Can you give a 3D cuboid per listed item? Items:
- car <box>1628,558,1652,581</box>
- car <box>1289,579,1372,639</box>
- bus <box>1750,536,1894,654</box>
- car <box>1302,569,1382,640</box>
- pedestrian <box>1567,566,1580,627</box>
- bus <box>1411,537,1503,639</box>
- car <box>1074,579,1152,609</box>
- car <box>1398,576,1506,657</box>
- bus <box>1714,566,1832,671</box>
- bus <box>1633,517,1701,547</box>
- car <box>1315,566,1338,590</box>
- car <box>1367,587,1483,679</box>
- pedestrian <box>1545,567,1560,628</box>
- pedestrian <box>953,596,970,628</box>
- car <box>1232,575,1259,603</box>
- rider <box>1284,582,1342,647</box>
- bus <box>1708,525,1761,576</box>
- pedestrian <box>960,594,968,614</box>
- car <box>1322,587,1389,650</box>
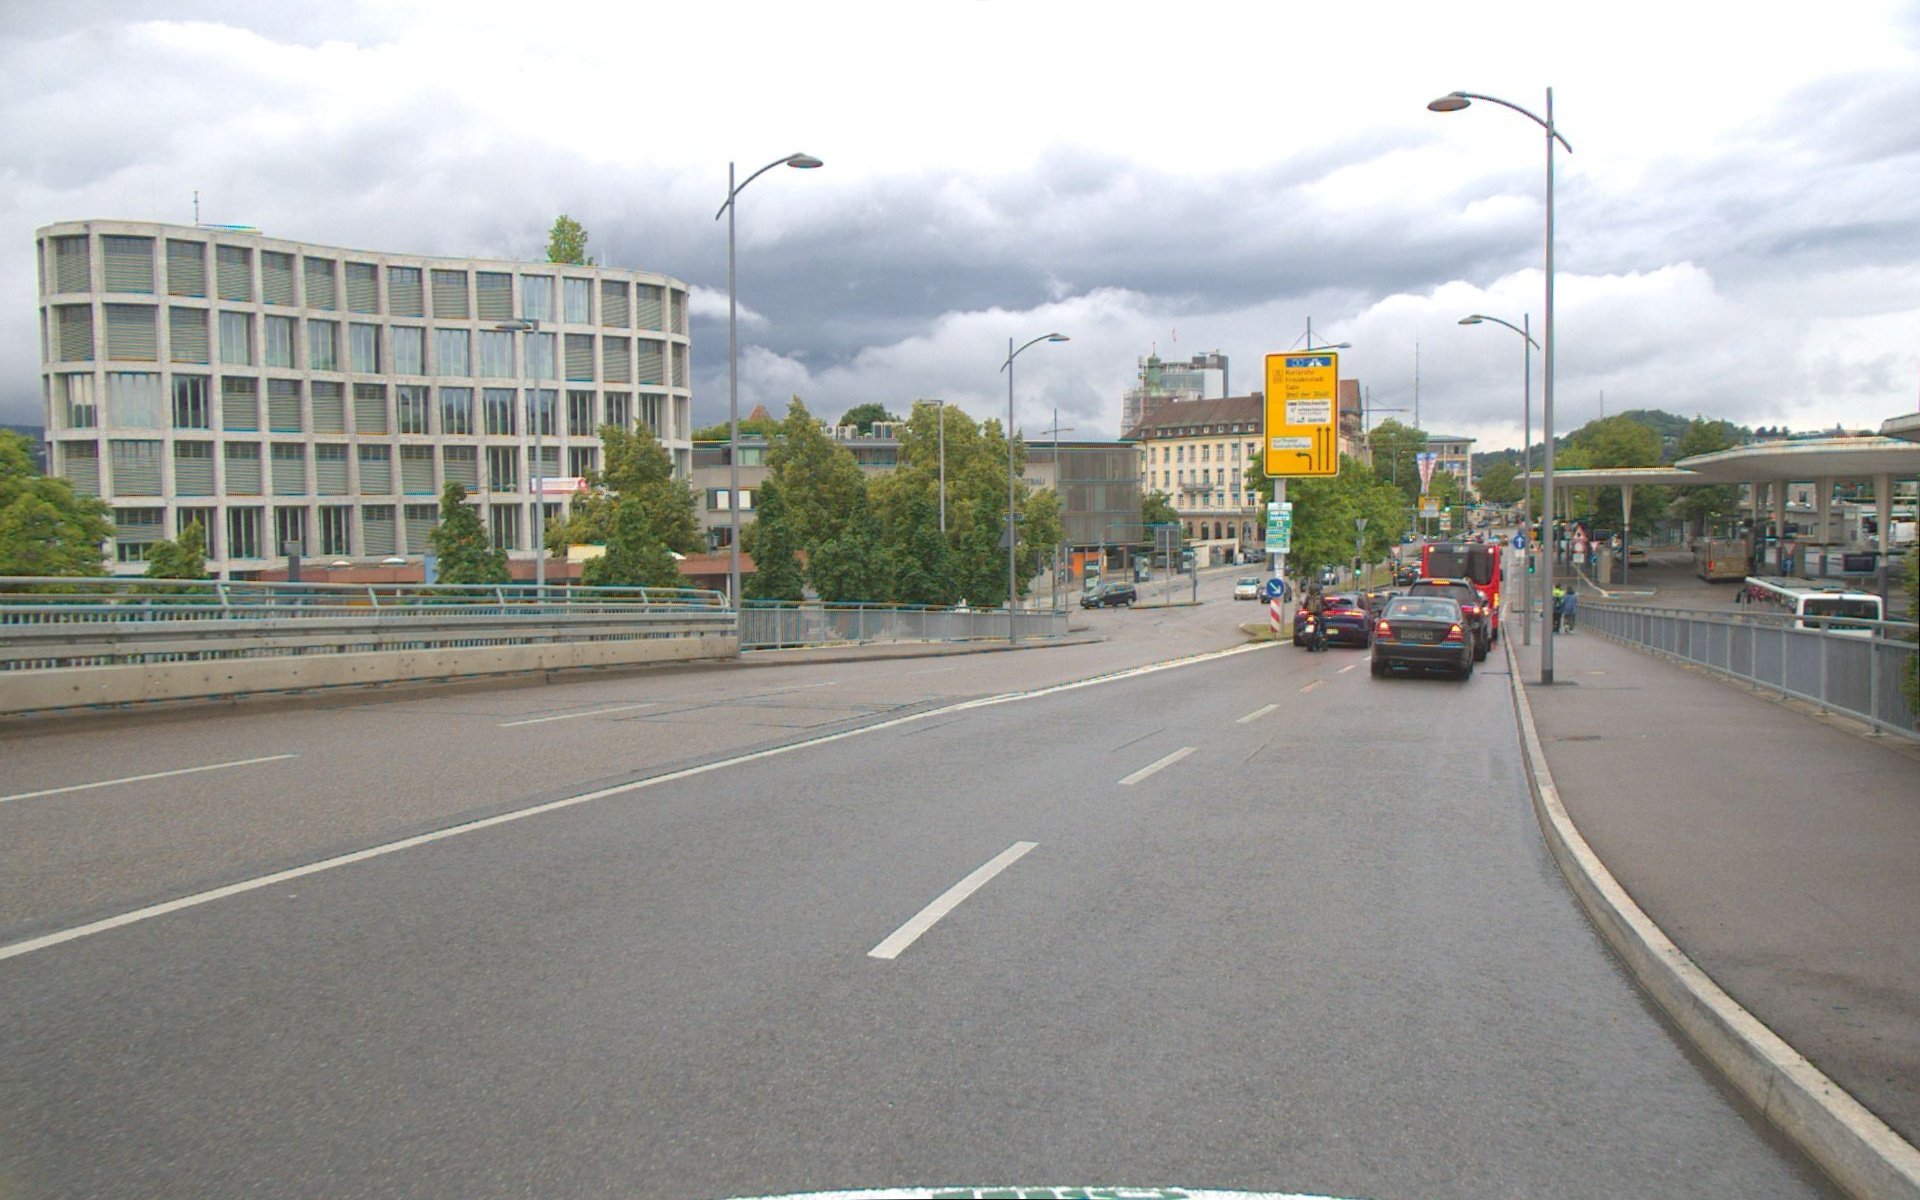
[{"bbox_3d":[61.070,-2.740,148.501,1.953,2.048,3.999,0,1,24],"label":"car"},{"bbox_3d":[9.859,0.196,43.808,1.723,1.461,4.002,2,1,18],"label":"car"},{"bbox_3d":[28.425,-0.288,54.838,2.590,3.291,7.080,2,5,15],"label":"bus"},{"bbox_3d":[11.917,0.103,51.416,1.952,2.041,4.002,2,1,19],"label":"car"},{"bbox_3d":[20.885,-0.116,56.299,0.415,2.049,0.483,0,-2,20],"label":"pedestrian"},{"bbox_3d":[17.690,-0.453,58.553,2.768,3.245,10.314,2,1,18],"label":"bus"},{"bbox_3d":[11.310,-0.484,121.823,5.544,2.048,1.983,-1,2,-27],"label":"car"},{"bbox_3d":[11.418,0.333,38.204,1.791,1.716,3.997,2,1,25],"label":"car"},{"bbox_3d":[30.262,0.572,61.827,2.590,3.291,7.080,0,4,15],"label":"bus"},{"bbox_3d":[84.104,-8.081,196.961,7.045,3.455,3.085,0,2,15],"label":"bus"},{"bbox_3d":[32.682,-1.953,147.531,1.951,2.049,4.206,0,0,12],"label":"car"},{"bbox_3d":[8.390,0.531,29.641,1.671,1.444,3.726,2,2,20],"label":"car"},{"bbox_3d":[20.254,-0.077,56.501,0.479,2.049,0.470,0,-2,20],"label":"pedestrian"},{"bbox_3d":[0.074,0.552,76.304,0.635,1.433,0.531,0,2,21],"label":"pedestrian"},{"bbox_3d":[21.868,-0.824,126.412,1.951,2.049,4.004,0,0,11],"label":"car"},{"bbox_3d":[8.573,0.323,40.105,0.863,1.497,2.195,2,1,24],"label":"rider"},{"bbox_3d":[57.410,-3.585,122.792,3.114,3.663,10.507,0,1,23],"label":"bus"},{"bbox_3d":[0.186,0.183,76.288,0.294,0.889,0.298,0,2,21],"label":"pedestrian"},{"bbox_3d":[14.036,0.609,58.566,1.952,2.041,4.002,2,1,18],"label":"car"}]
